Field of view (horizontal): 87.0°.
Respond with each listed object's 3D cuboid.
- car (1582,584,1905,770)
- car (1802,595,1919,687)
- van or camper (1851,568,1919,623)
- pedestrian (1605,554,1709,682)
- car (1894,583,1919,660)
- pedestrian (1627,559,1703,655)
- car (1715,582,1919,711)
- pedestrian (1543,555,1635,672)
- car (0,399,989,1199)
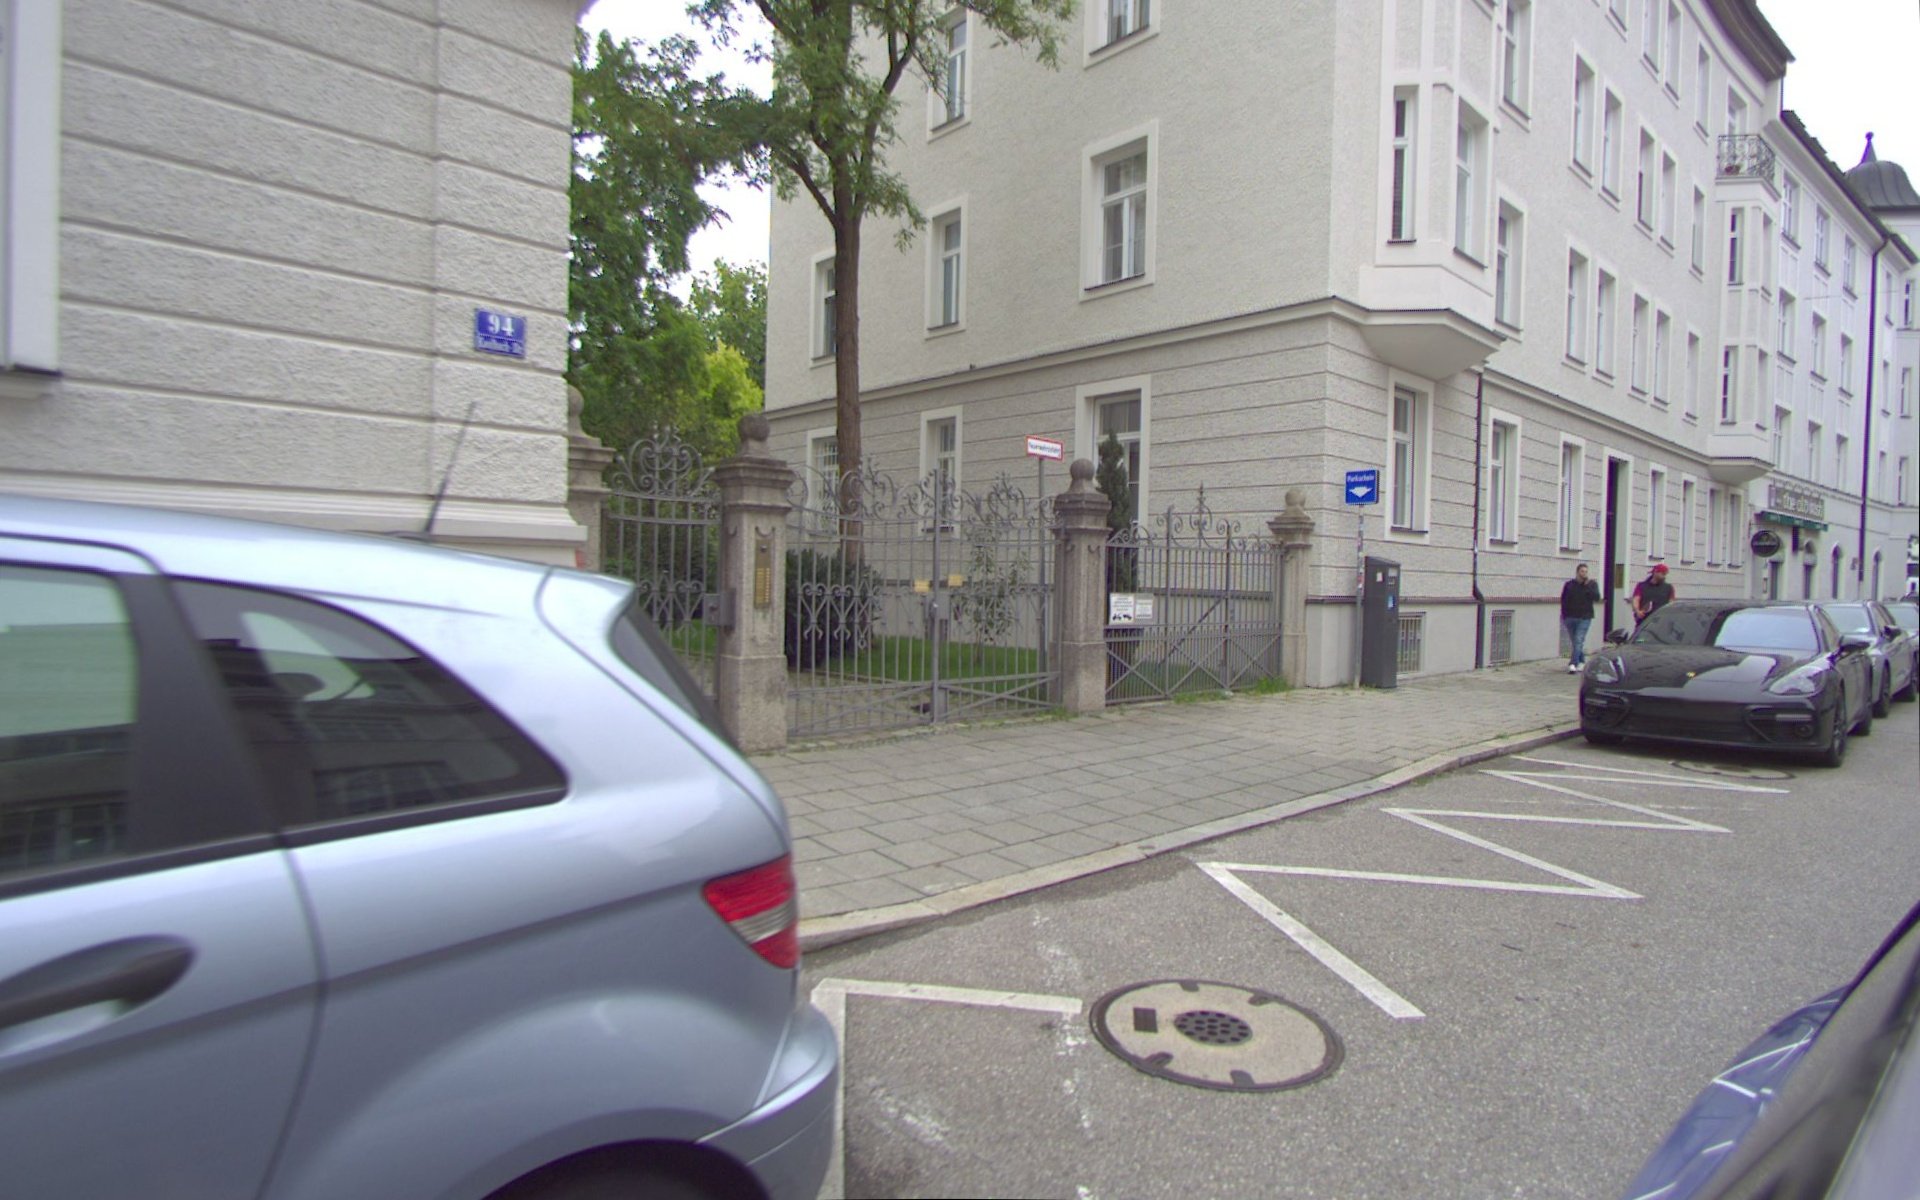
[{"bbox_3d":[8.360,0.608,10.617,4.634,1.475,1.996,0,2,-44],"label":"car"},{"bbox_3d":[16.117,0.640,17.579,4.892,1.417,1.837,0,-1,-45],"label":"car"},{"bbox_3d":[50.230,-0.221,52.602,5.850,2.748,2.268,2,-1,43],"label":"van or camper"},{"bbox_3d":[10.528,0.245,15.298,1.090,1.833,0.886,1,3,-35],"label":"pedestrian"},{"bbox_3d":[23.042,0.455,23.345,4.117,1.696,1.802,0,-1,-42],"label":"car"},{"bbox_3d":[14.463,0.126,20.751,1.091,1.834,0.886,0,5,-40],"label":"pedestrian"},{"bbox_3d":[12.035,0.560,13.907,4.343,1.505,1.763,0,-1,-41],"label":"car"},{"bbox_3d":[10.225,0.191,16.460,1.091,1.808,0.885,0,3,-39],"label":"pedestrian"},{"bbox_3d":[-2.187,0.603,1.203,4.321,1.589,1.825,0,-1,-40],"label":"car"}]
